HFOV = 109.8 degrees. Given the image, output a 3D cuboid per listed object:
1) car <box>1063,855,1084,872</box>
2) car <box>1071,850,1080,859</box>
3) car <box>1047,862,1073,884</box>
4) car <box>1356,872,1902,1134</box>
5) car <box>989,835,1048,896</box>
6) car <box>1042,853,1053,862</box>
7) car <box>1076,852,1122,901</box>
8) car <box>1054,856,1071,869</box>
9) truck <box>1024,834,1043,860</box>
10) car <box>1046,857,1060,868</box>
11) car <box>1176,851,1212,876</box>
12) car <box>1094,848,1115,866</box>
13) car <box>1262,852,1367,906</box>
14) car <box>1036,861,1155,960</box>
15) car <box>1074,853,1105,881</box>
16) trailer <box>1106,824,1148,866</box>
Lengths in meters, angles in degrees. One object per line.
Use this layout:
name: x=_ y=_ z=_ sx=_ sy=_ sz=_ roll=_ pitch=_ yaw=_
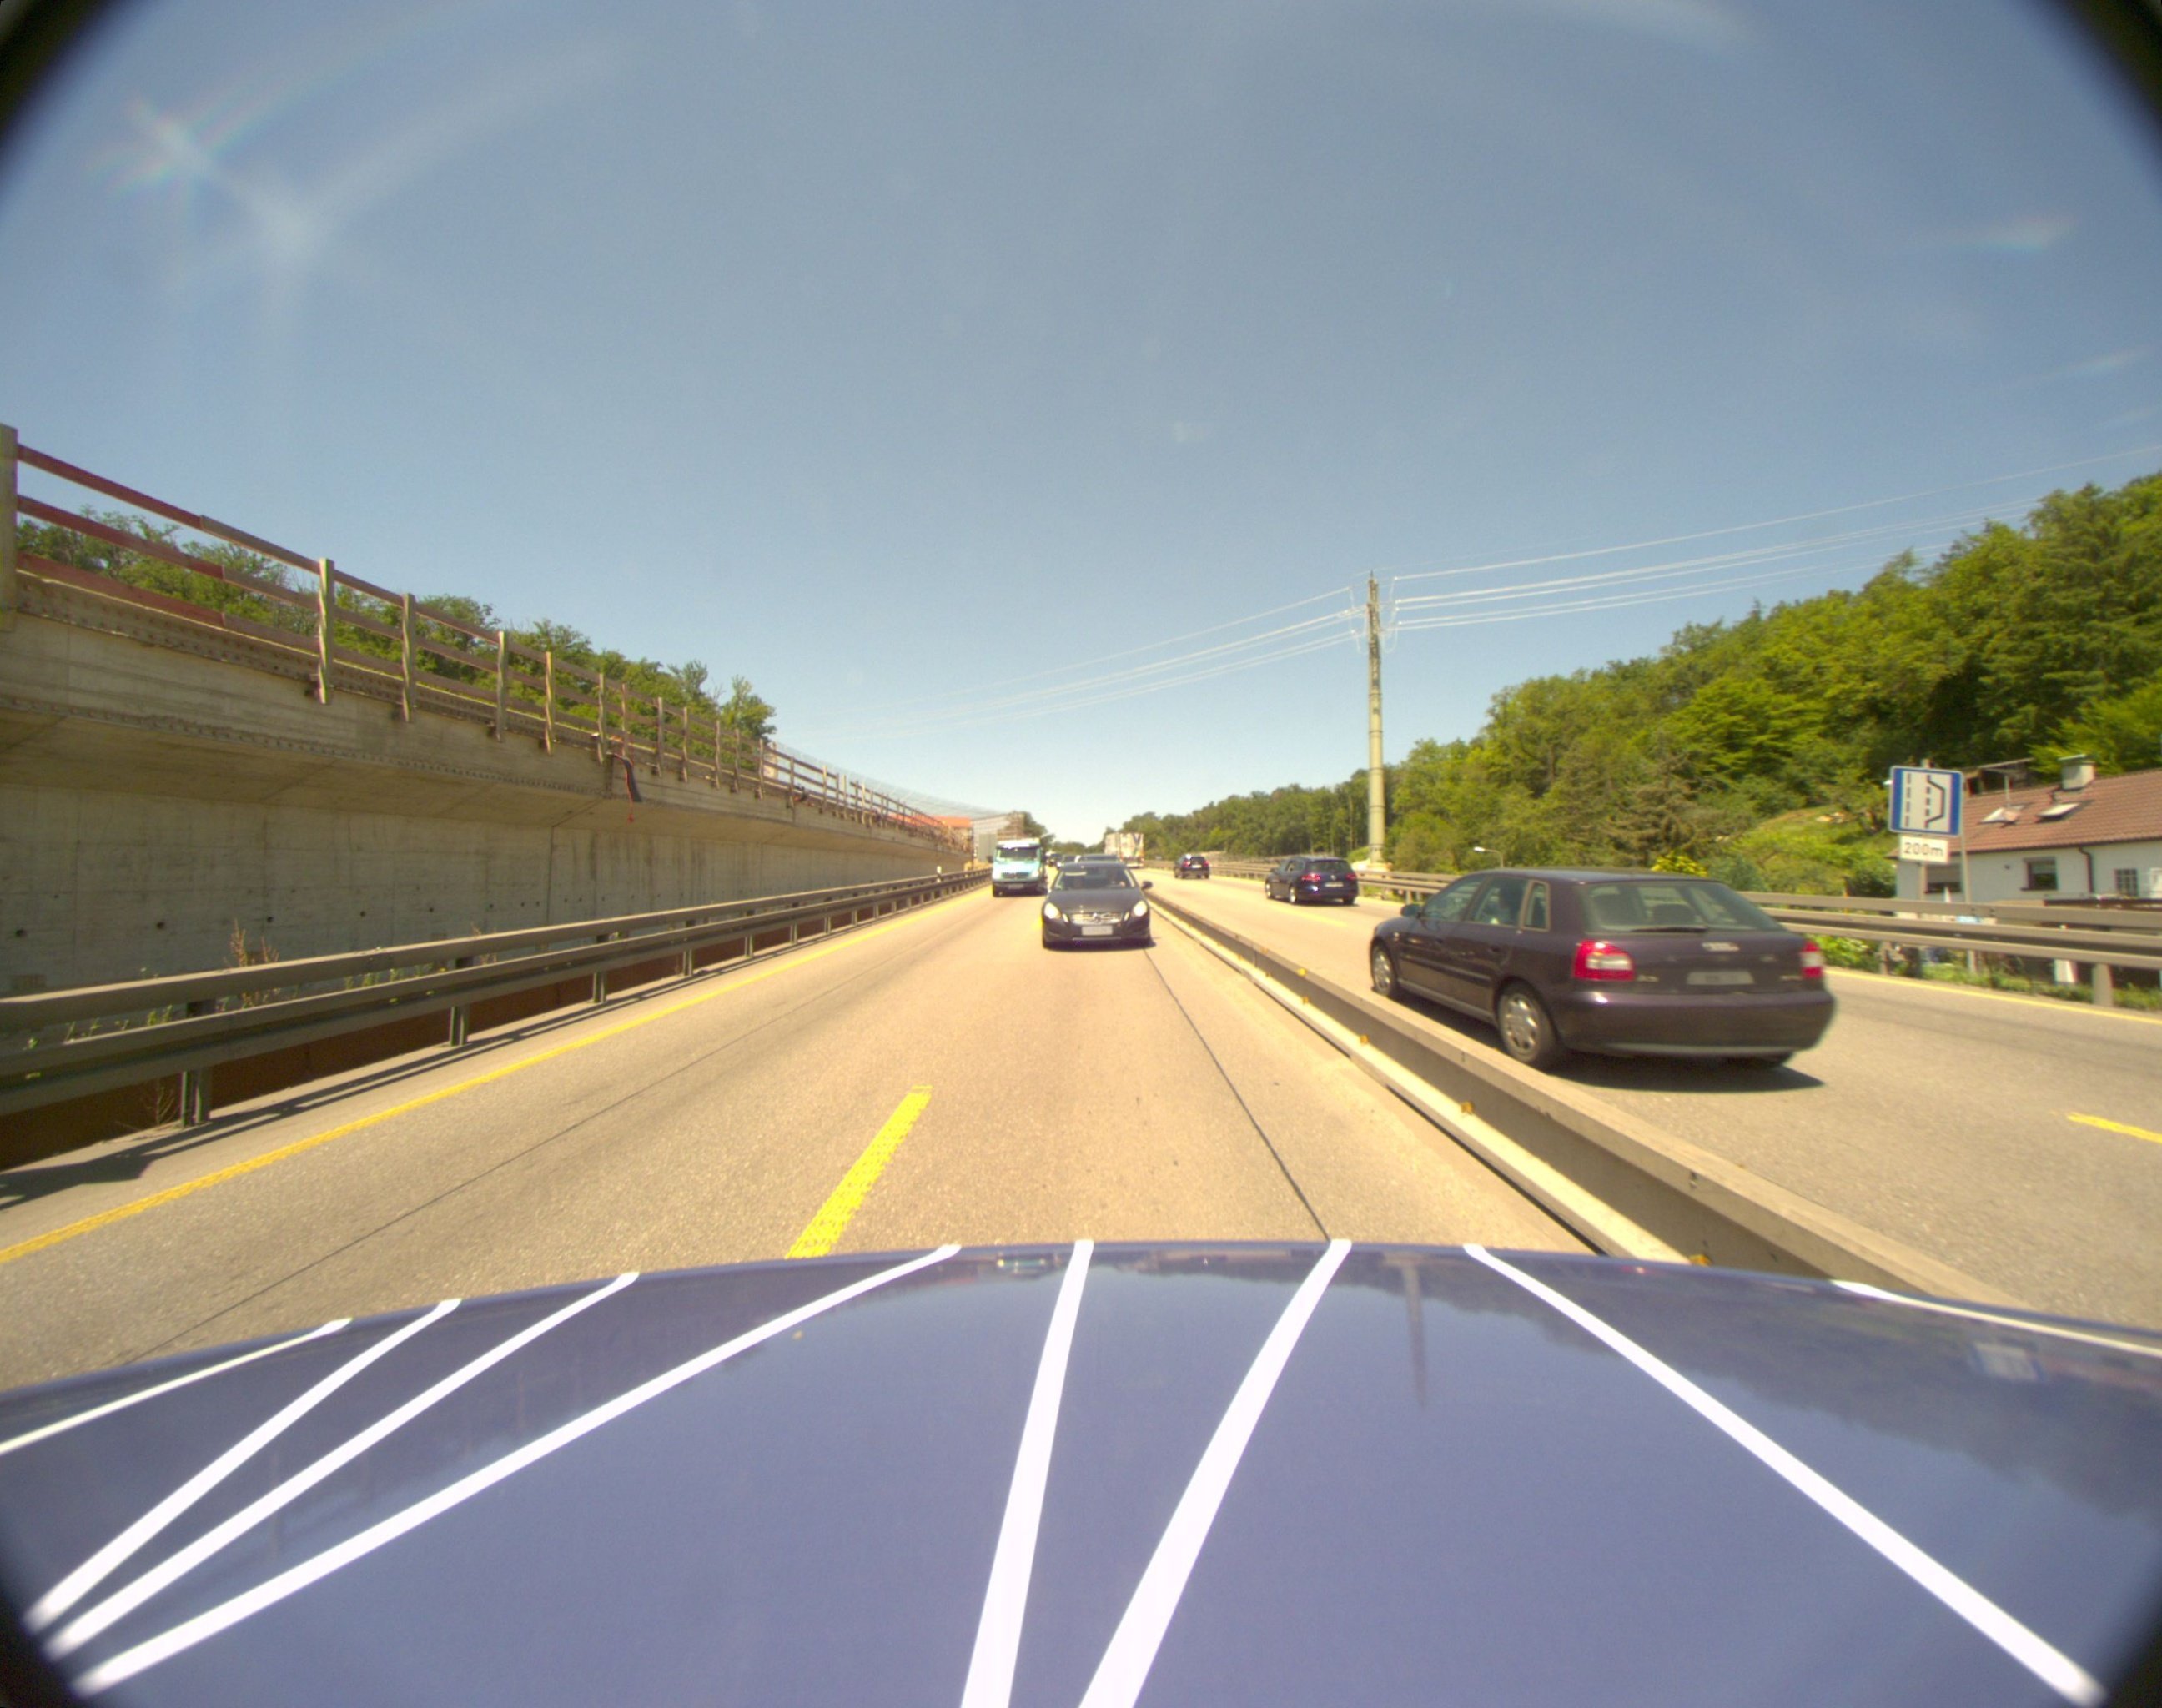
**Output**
car: x=-0.641 y=0.813 z=66.584 sx=1.647 sy=1.366 sz=3.344 roll=-2 pitch=1 yaw=1
car: x=-1.277 y=0.078 z=175.757 sx=1.999 sy=1.999 sz=4.856 roll=-1 pitch=1 yaw=-1
car: x=-1.478 y=1.327 z=54.567 sx=1.739 sy=1.401 sz=3.585 roll=-2 pitch=1 yaw=0
car: x=3.818 y=0.896 z=6.299 sx=1.722 sy=1.400 sz=4.001 roll=-1 pitch=0 yaw=1
car: x=-2.585 y=0.398 z=32.748 sx=2.217 sy=2.312 sz=6.899 roll=-1 pitch=1 yaw=-3
car: x=-5.453 y=0.487 z=123.899 sx=1.586 sy=1.366 sz=3.344 roll=-2 pitch=1 yaw=1
car: x=0.622 y=0.752 z=27.453 sx=1.519 sy=1.543 sz=3.860 roll=-1 pitch=1 yaw=0
car: x=-2.071 y=0.913 z=83.174 sx=1.647 sy=1.366 sz=3.343 roll=-2 pitch=1 yaw=-3
truck: x=-7.049 y=-1.040 z=110.985 sx=2.471 sy=3.464 sz=9.863 roll=-2 pitch=1 yaw=-5
car: x=-3.647 y=1.097 z=100.043 sx=1.586 sy=1.366 sz=3.344 roll=-2 pitch=1 yaw=1
car: x=6.994 y=0.624 z=47.349 sx=1.736 sy=1.480 sz=4.001 roll=-1 pitch=-1 yaw=1
car: x=2.199 y=0.264 z=71.404 sx=1.824 sy=1.577 sz=4.158 roll=-4 pitch=1 yaw=1
car: x=7.036 y=0.692 z=23.436 sx=1.846 sy=1.410 sz=4.686 roll=0 pitch=1 yaw=1
car: x=0.122 y=0.909 z=14.248 sx=1.844 sy=1.475 sz=4.561 roll=-1 pitch=0 yaw=-3
car: x=0.485 y=0.750 z=46.022 sx=1.736 sy=1.557 sz=3.619 roll=-2 pitch=1 yaw=0
trailer: x=5.173 y=-1.051 z=88.287 sx=3.261 sy=4.353 sz=14.052 roll=-2 pitch=1 yaw=-3
